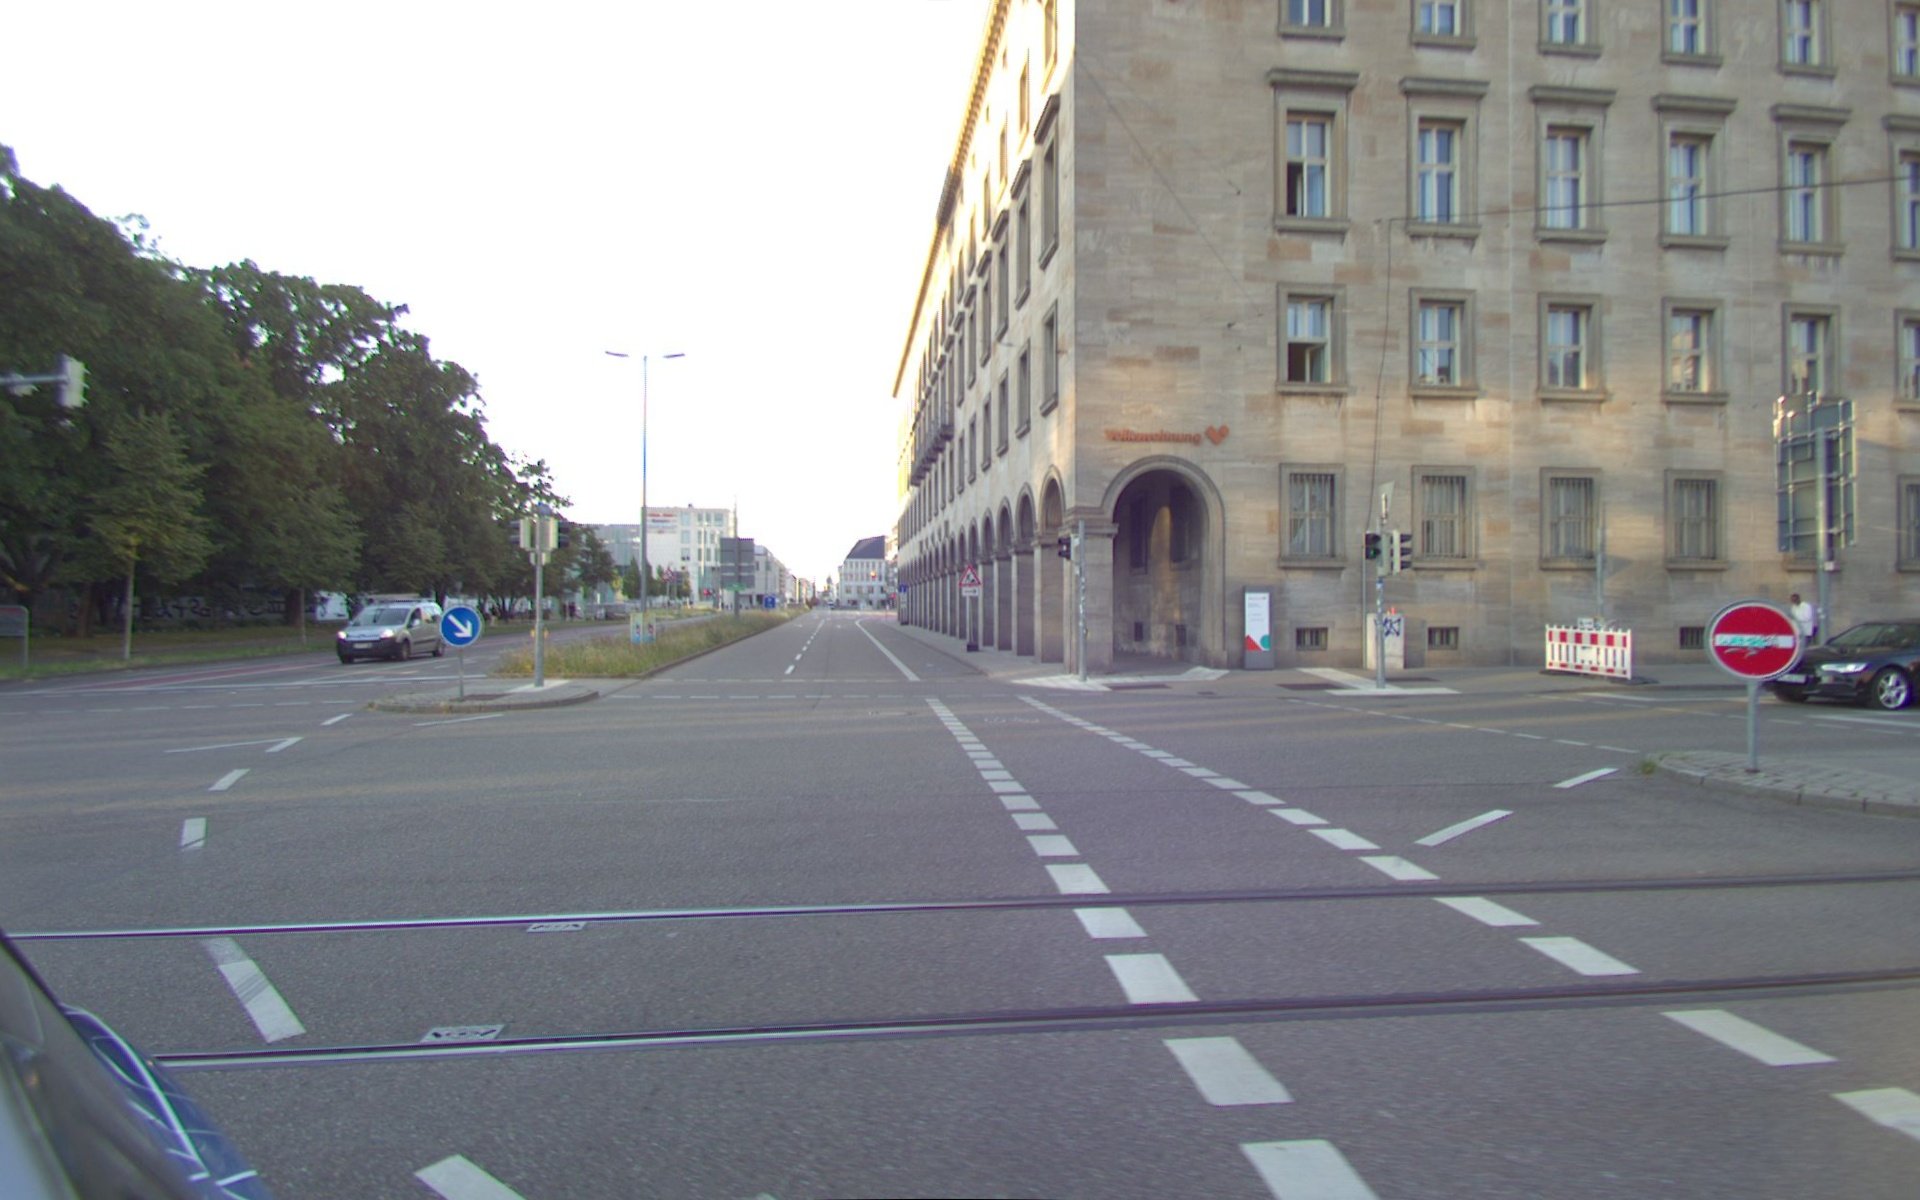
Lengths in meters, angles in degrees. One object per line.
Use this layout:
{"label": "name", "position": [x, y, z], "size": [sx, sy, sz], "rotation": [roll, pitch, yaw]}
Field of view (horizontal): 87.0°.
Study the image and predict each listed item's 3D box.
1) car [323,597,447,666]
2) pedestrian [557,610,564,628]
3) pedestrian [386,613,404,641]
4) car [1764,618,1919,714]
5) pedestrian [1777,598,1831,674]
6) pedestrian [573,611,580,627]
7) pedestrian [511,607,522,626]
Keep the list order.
{"label": "car", "position": [-17.322, 0.903, 30.739], "size": [1.777, 1.926, 4.473], "rotation": [0, 0, -9]}
{"label": "pedestrian", "position": [-36.280, 1.710, 91.928], "size": [0.621, 1.678, 0.648], "rotation": [0, -1, -20]}
{"label": "pedestrian", "position": [-32.557, 1.564, 58.309], "size": [0.636, 1.606, 0.678], "rotation": [-1, 0, -4]}
{"label": "car", "position": [16.009, 1.047, 16.840], "size": [4.166, 1.438, 1.651], "rotation": [0, 0, -7]}
{"label": "pedestrian", "position": [19.601, 0.827, 23.518], "size": [0.636, 1.723, 0.698], "rotation": [0, 0, -4]}
{"label": "pedestrian", "position": [-34.302, 1.712, 90.557], "size": [0.621, 1.405, 0.648], "rotation": [0, -1, -20]}
{"label": "pedestrian", "position": [-34.154, 1.282, 77.895], "size": [0.622, 1.474, 0.647], "rotation": [0, 0, -5]}
